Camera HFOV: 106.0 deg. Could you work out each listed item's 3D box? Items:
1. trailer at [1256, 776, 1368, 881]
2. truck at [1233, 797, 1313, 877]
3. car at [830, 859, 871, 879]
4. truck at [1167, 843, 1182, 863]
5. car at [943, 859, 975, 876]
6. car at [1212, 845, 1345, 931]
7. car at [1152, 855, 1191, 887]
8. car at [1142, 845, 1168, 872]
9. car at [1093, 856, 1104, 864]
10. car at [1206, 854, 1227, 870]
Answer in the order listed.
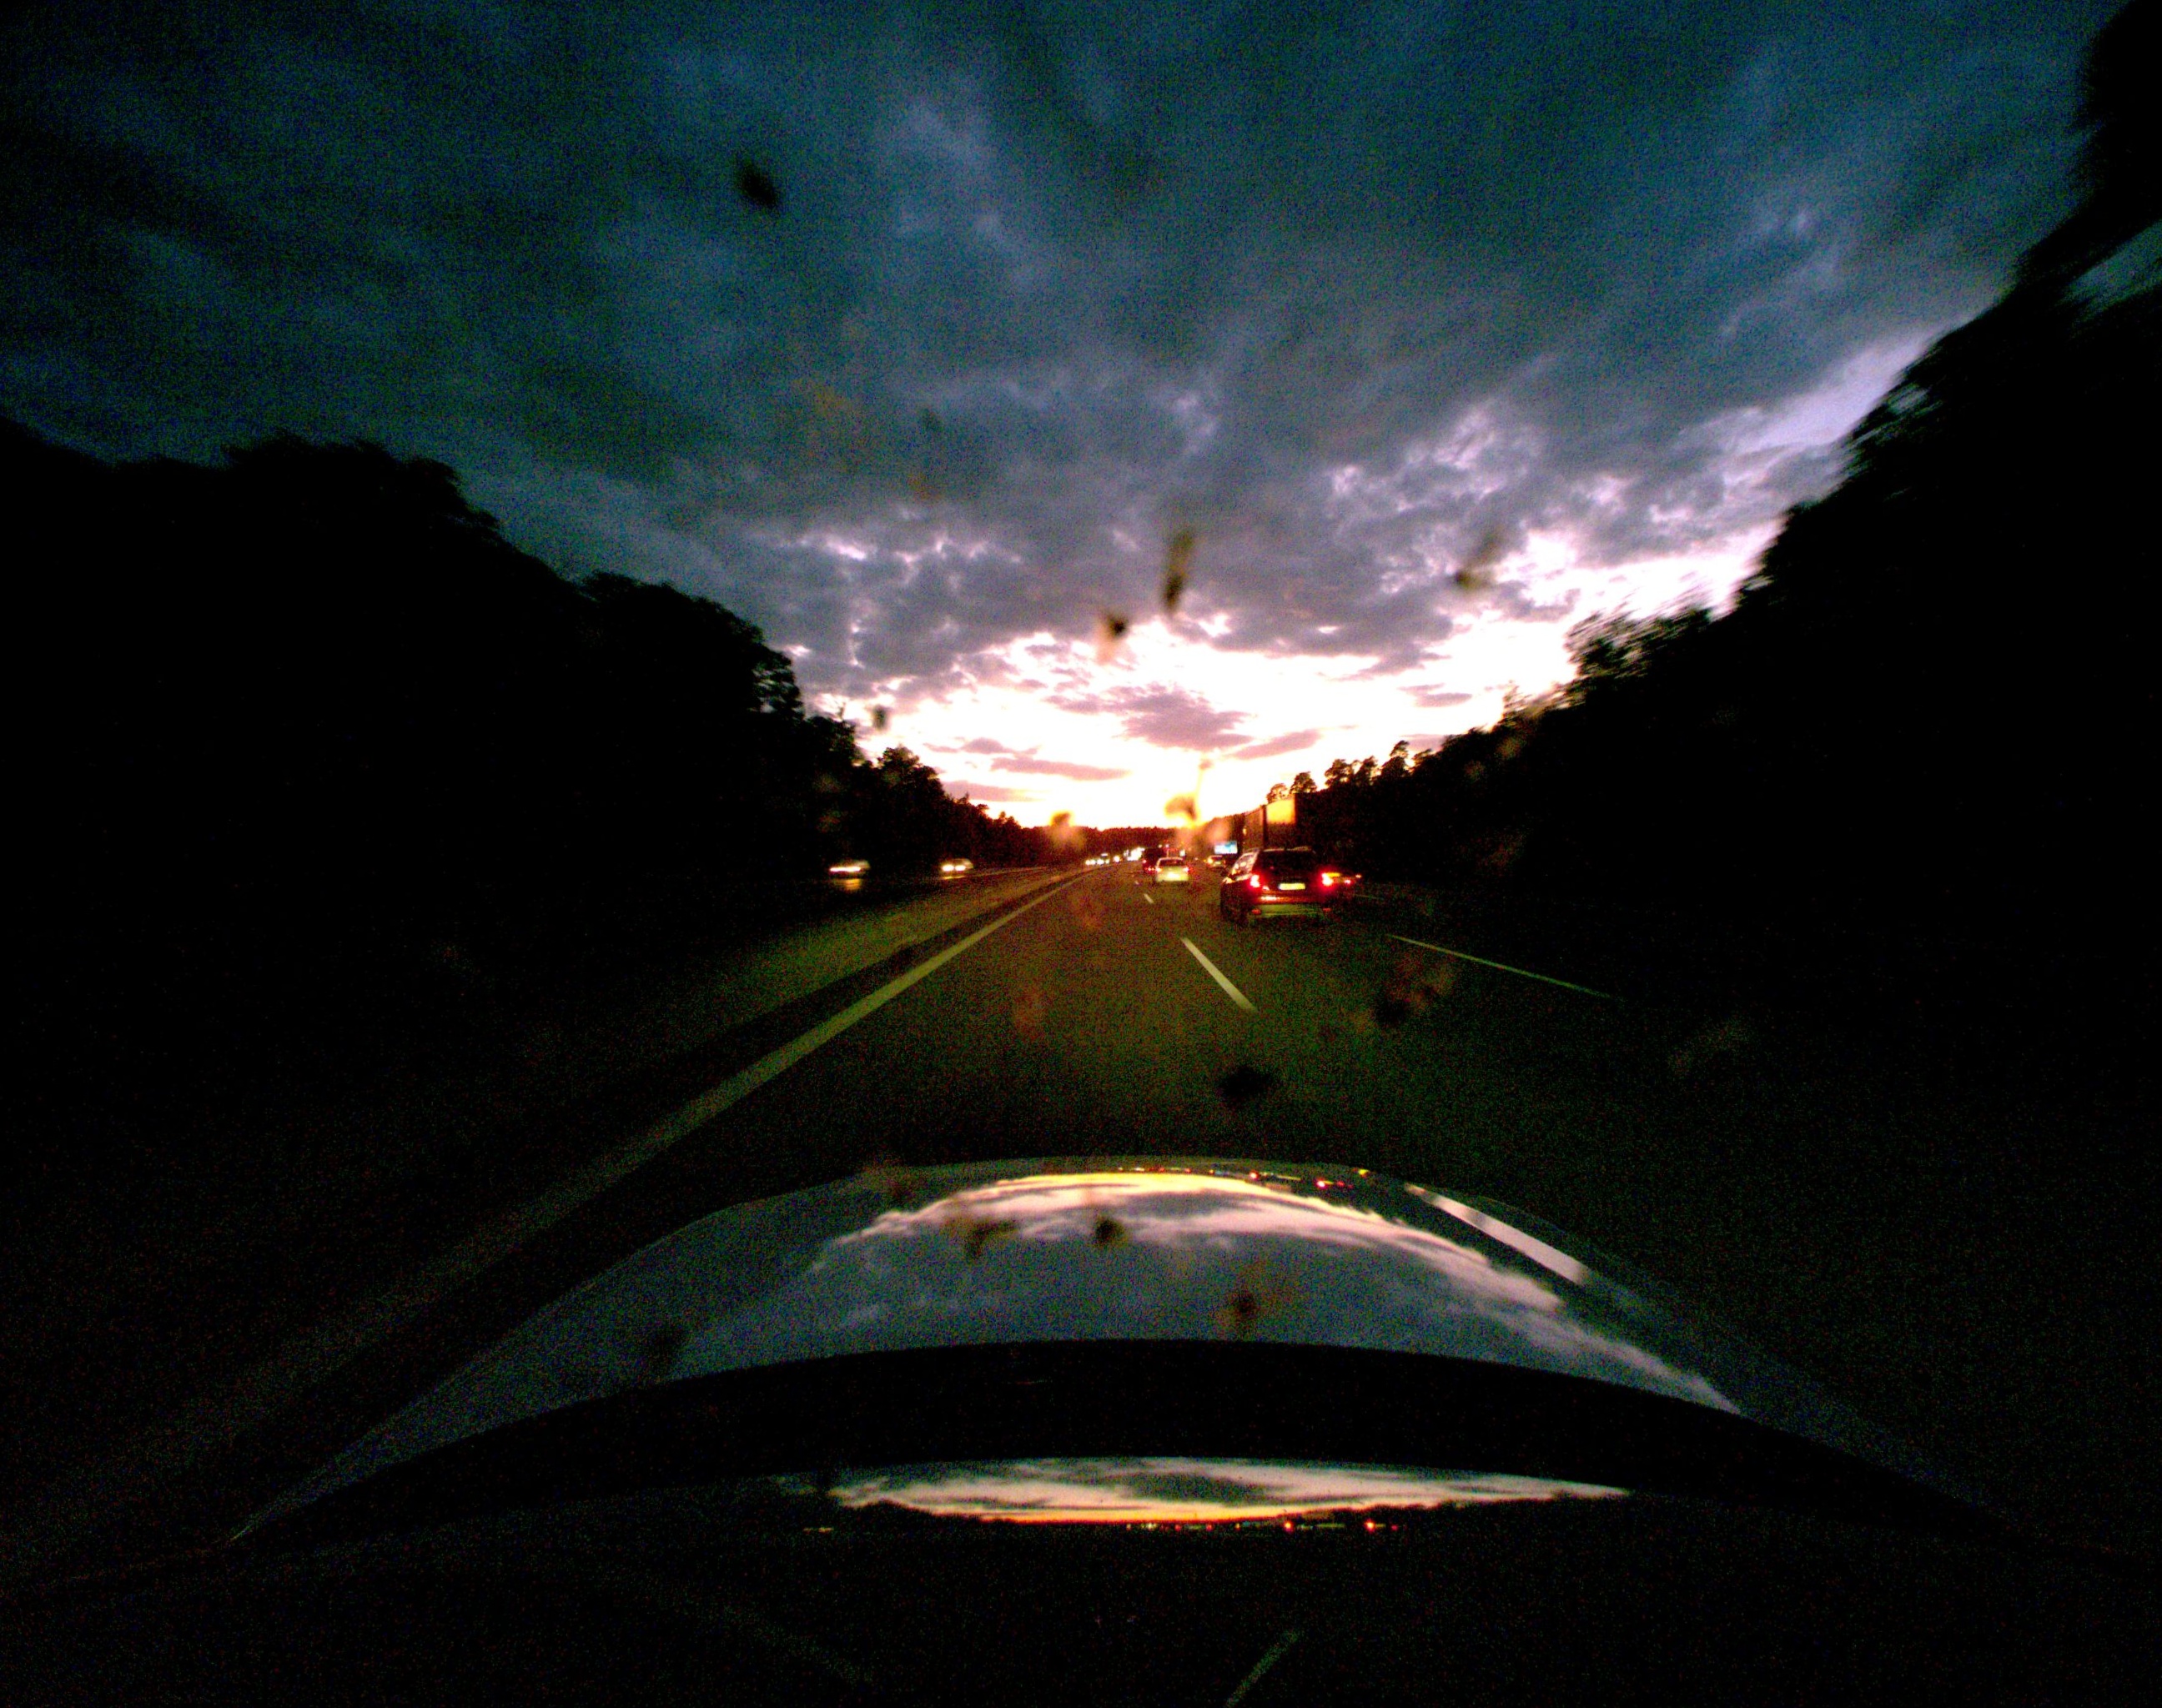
[{"bbox_3d":[10.280,-0.955,37.476,2.894,4.100,10.369,-1,-1,4],"label":"trailer"},{"bbox_3d":[11.084,-0.851,48.059,2.872,4.100,10.844,-1,-1,4],"label":"truck"},{"bbox_3d":[-18.933,1.209,67.078,1.832,1.463,4.009,0,0,7],"label":"car"},{"bbox_3d":[28.323,-0.329,247.769,4.128,5.856,14.319,-2,-1,6],"label":"truck"},{"bbox_3d":[-11.279,1.190,75.564,1.834,1.463,4.782,0,0,4],"label":"car"},{"bbox_3d":[4.252,0.651,18.420,1.896,1.643,5.054,-2,0,2],"label":"car"},{"bbox_3d":[4.637,0.843,42.048,1.851,1.442,3.725,-2,1,4],"label":"car"},{"bbox_3d":[6.874,0.423,75.198,2.154,2.419,5.575,-2,-1,7],"label":"car"},{"bbox_3d":[3.844,1.378,180.506,1.983,1.638,5.120,-1,0,6],"label":"car"},{"bbox_3d":[13.961,0.852,84.086,1.997,1.538,4.008,-2,-1,7],"label":"car"}]
